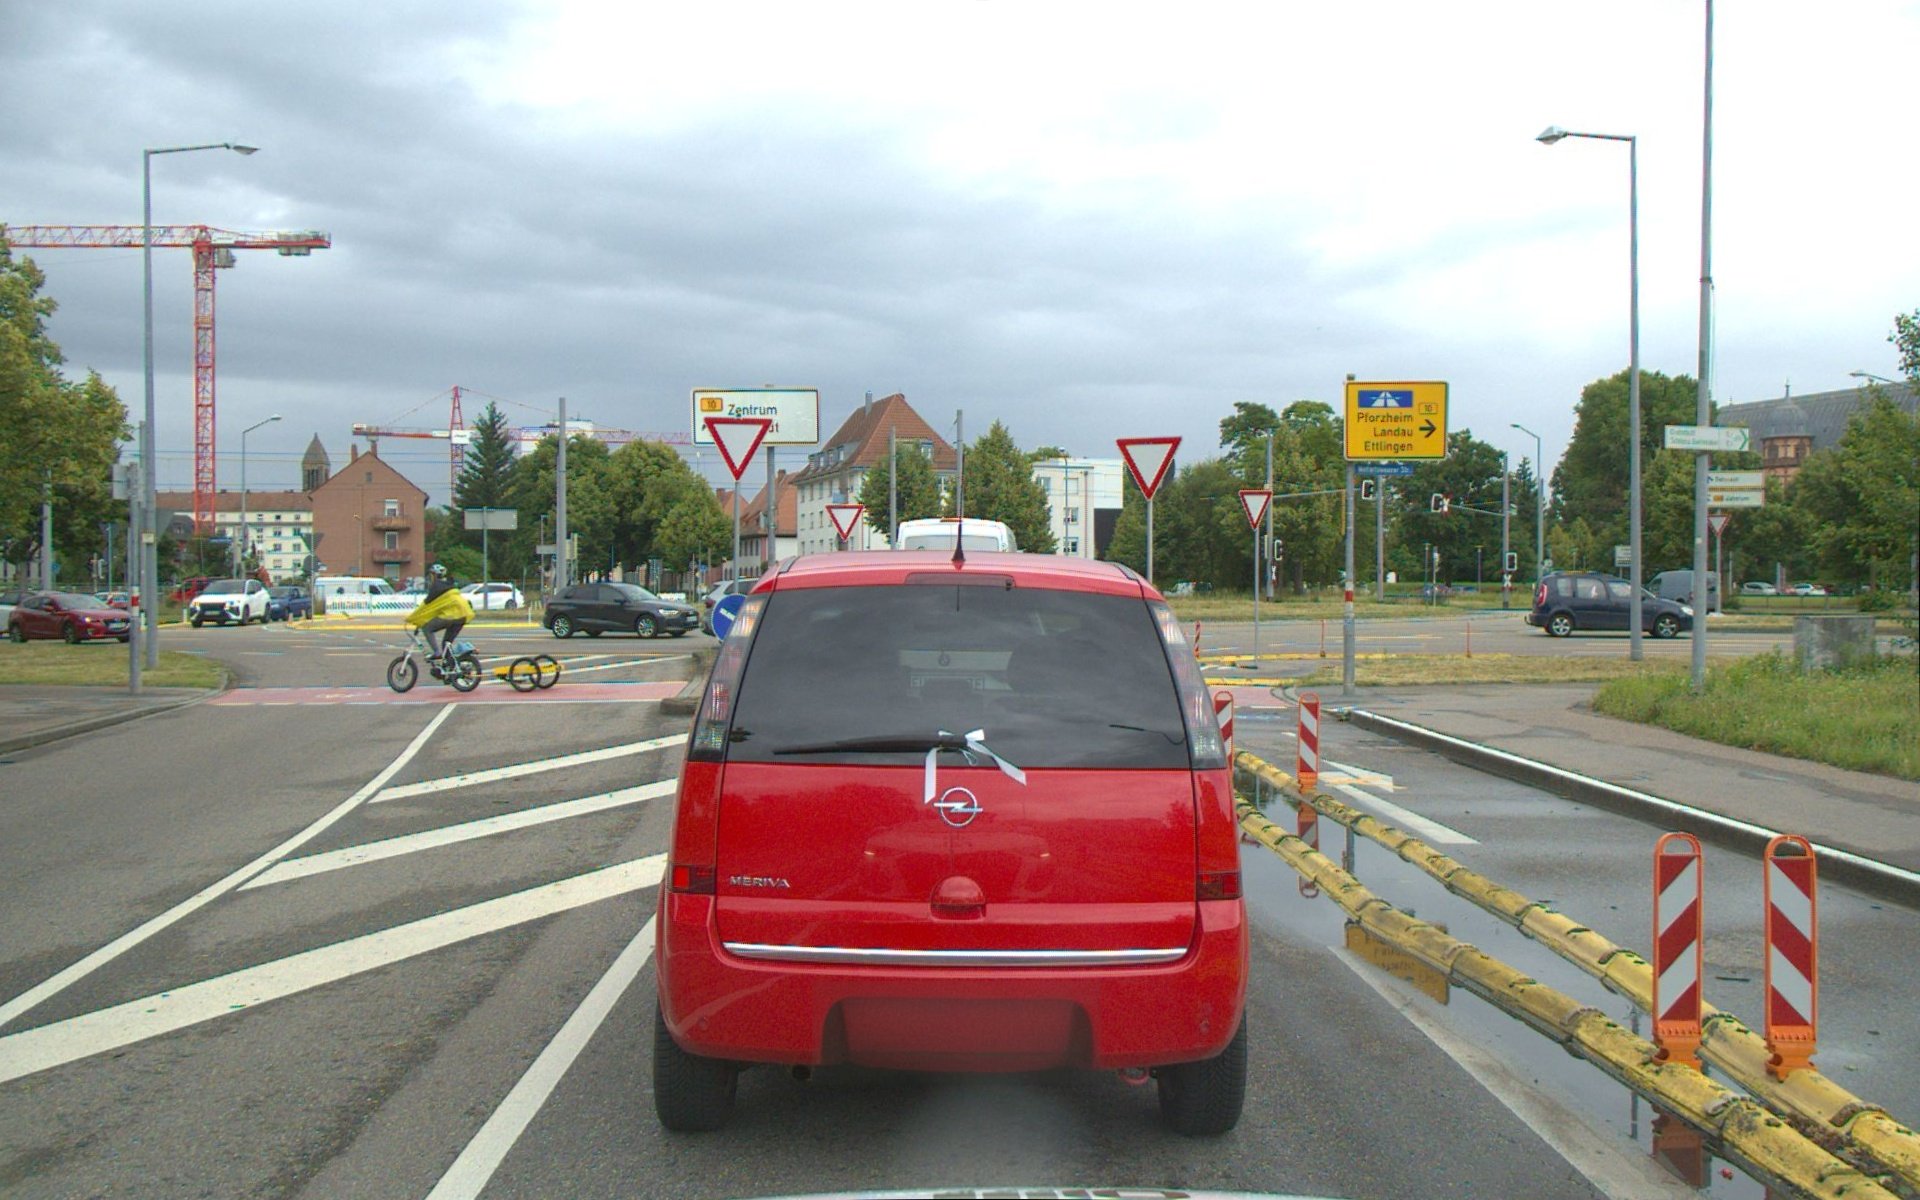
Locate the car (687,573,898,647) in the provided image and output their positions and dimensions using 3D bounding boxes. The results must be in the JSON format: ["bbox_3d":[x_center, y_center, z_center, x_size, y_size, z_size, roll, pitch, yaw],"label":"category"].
[{"bbox_3d":[-3.788,0.215,37.818,4.420,1.610,2.002,0,1,10],"label":"car"}]

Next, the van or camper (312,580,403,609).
[{"bbox_3d":[-44.069,-0.416,121.065,6.045,2.049,2.002,0,0,10],"label":"van or camper"}]

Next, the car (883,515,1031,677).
[{"bbox_3d":[0.056,-0.100,29.217,2.149,2.584,4.965,1,1,5],"label":"car"}]

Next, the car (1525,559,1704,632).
[{"bbox_3d":[17.075,-0.113,43.350,4.105,1.845,2.080,0,0,13],"label":"car"}]

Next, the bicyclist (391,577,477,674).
[{"bbox_3d":[-7.859,0.374,24.732,1.039,1.426,0.615,0,0,16],"label":"bicyclist"}]

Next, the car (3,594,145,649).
[{"bbox_3d":[-25.628,0.583,47.795,4.271,1.489,1.992,0,1,36],"label":"car"}]

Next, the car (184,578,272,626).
[{"bbox_3d":[-26.867,0.052,60.837,1.895,1.713,4.181,-1,1,-8],"label":"car"}]

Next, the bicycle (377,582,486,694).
[{"bbox_3d":[-7.900,0.564,24.744,1.446,1.640,0.606,0,0,16],"label":"bicycle"}]

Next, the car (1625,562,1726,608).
[{"bbox_3d":[32.904,-0.708,76.165,1.960,2.049,4.461,-1,1,-14],"label":"car"}]

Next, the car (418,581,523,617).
[{"bbox_3d":[-23.678,-0.066,80.100,1.961,1.663,4.655,0,1,37],"label":"car"}]

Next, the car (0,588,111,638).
[{"bbox_3d":[-29.495,0.420,52.647,3.902,1.534,2.002,0,1,7],"label":"car"}]

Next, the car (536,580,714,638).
[{"bbox_3d":[-8.921,0.232,44.138,4.217,1.489,2.001,0,1,17],"label":"car"}]

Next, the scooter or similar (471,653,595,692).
[{"bbox_3d":[-6.319,1.072,24.561,1.574,0.513,0.925,-1,1,2],"label":"scooter or similar"}]

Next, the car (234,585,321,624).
[{"bbox_3d":[-27.793,0.179,67.468,1.891,1.515,4.000,-1,1,-1],"label":"car"}]

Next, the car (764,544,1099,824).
[{"bbox_3d":[-0.205,0.489,12.368,2.018,1.676,4.606,1,1,-1],"label":"car"}]

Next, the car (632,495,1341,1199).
[{"bbox_3d":[0.037,0.581,5.690,1.639,1.669,3.627,1,1,-1],"label":"car"}]
